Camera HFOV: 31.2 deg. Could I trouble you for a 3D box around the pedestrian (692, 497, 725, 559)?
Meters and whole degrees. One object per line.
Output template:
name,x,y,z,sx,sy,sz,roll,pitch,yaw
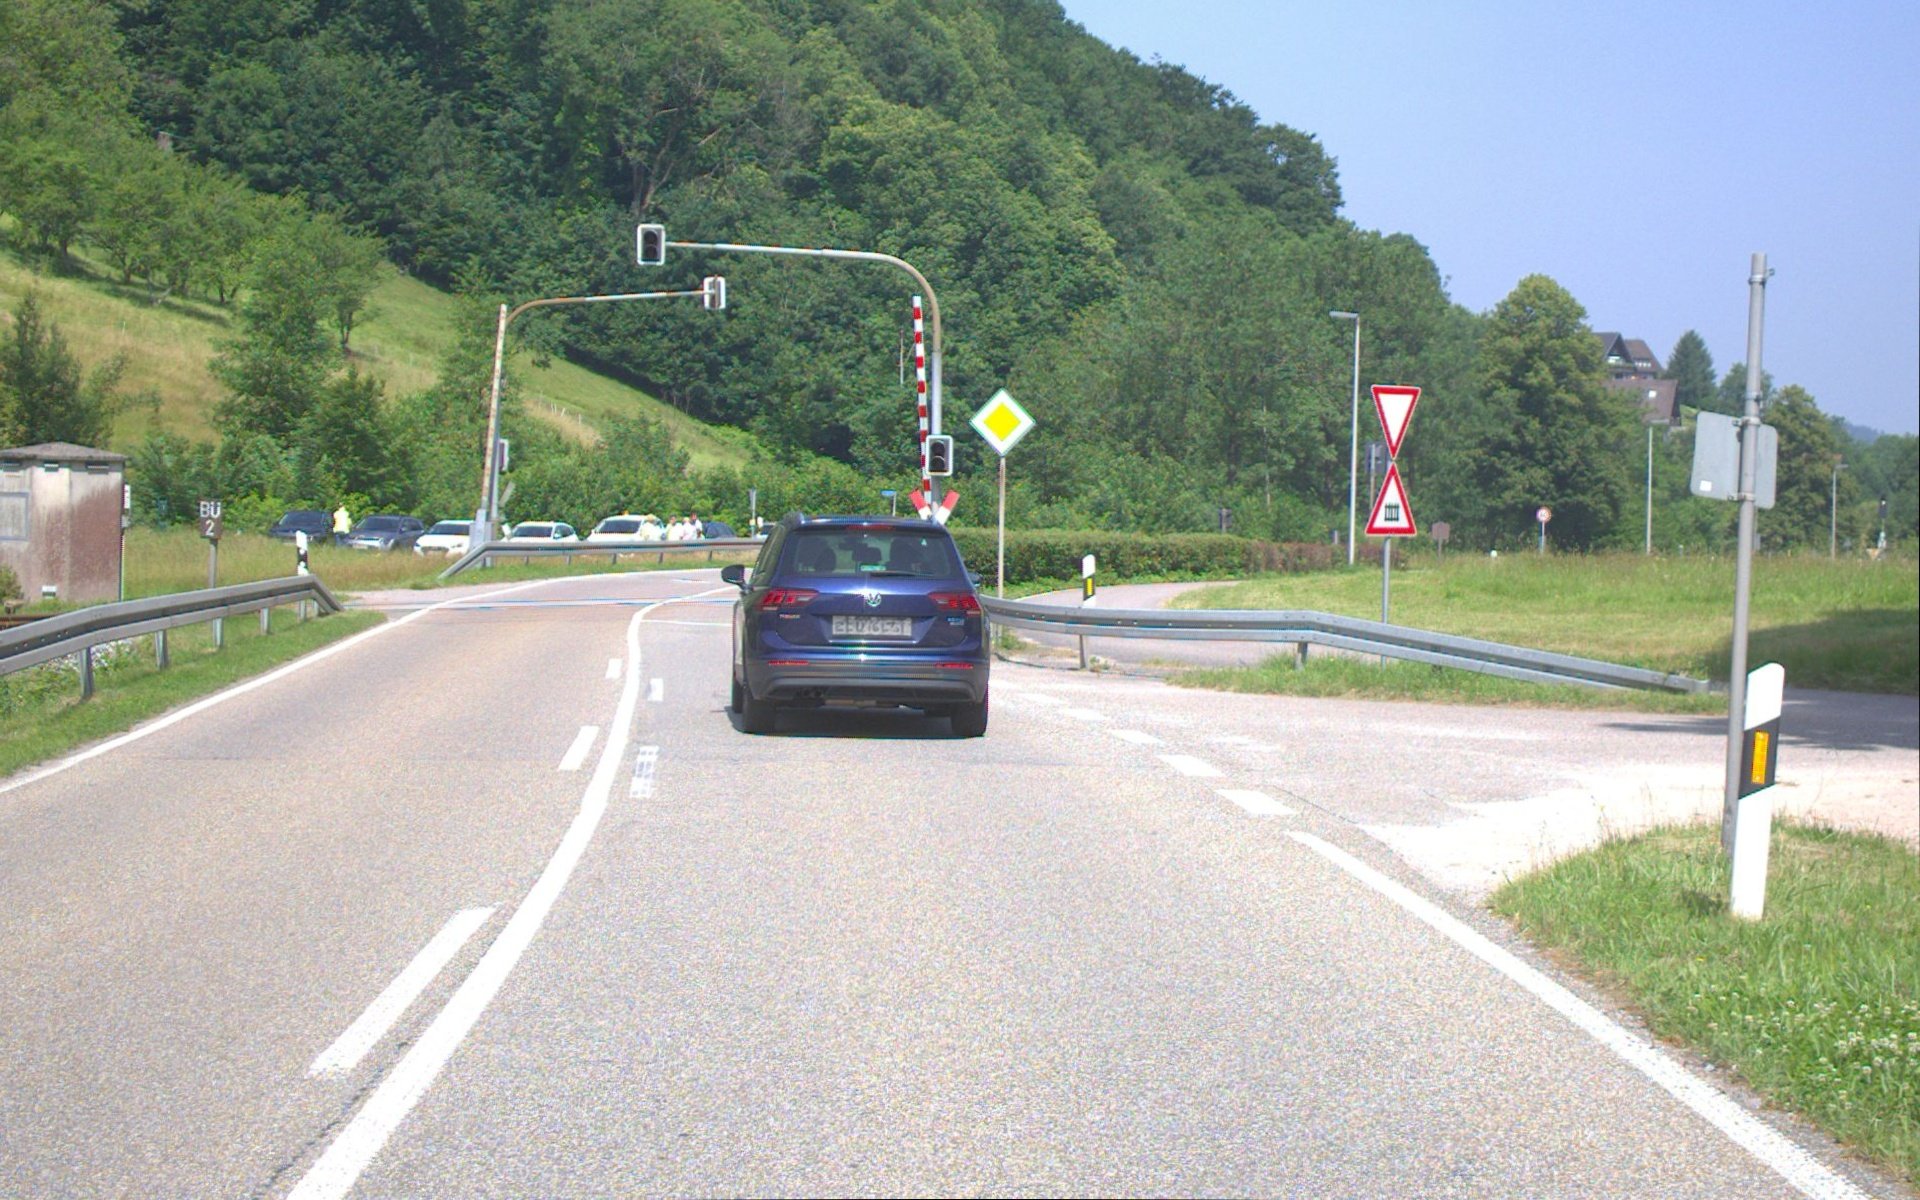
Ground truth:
pedestrian,-7.558,-2.158,103.270,0.769,1.852,0.648,-1,1,-45

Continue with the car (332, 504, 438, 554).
car,-18.581,-2.277,111.280,1.994,1.495,4.520,3,1,9

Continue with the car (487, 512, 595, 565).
car,-13.448,-1.971,110.498,1.994,1.635,4.899,1,1,11

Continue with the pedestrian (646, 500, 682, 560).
pedestrian,-8.893,-2.106,103.293,0.770,1.790,0.792,1,1,38

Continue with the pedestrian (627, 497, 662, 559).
pedestrian,-9.406,-2.146,102.533,0.789,1.836,0.698,1,1,22

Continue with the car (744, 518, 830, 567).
car,-5.415,-1.815,107.990,1.827,1.495,4.276,0,1,9

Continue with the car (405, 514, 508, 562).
car,-16.157,-1.999,110.568,1.994,1.495,4.520,1,1,9

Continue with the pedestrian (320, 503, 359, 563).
pedestrian,-18.935,-2.035,104.888,0.954,1.788,1.000,1,0,4

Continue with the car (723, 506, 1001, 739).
car,-0.837,0.130,26.480,1.852,1.643,4.141,0,1,-6

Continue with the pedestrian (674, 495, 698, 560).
pedestrian,-8.177,-2.164,102.702,0.660,1.948,0.533,0,1,2

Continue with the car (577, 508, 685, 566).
car,-10.547,-2.013,110.556,1.872,1.776,4.769,2,1,15

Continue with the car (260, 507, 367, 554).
car,-21.010,-2.252,111.921,1.994,1.495,4.520,1,1,9
